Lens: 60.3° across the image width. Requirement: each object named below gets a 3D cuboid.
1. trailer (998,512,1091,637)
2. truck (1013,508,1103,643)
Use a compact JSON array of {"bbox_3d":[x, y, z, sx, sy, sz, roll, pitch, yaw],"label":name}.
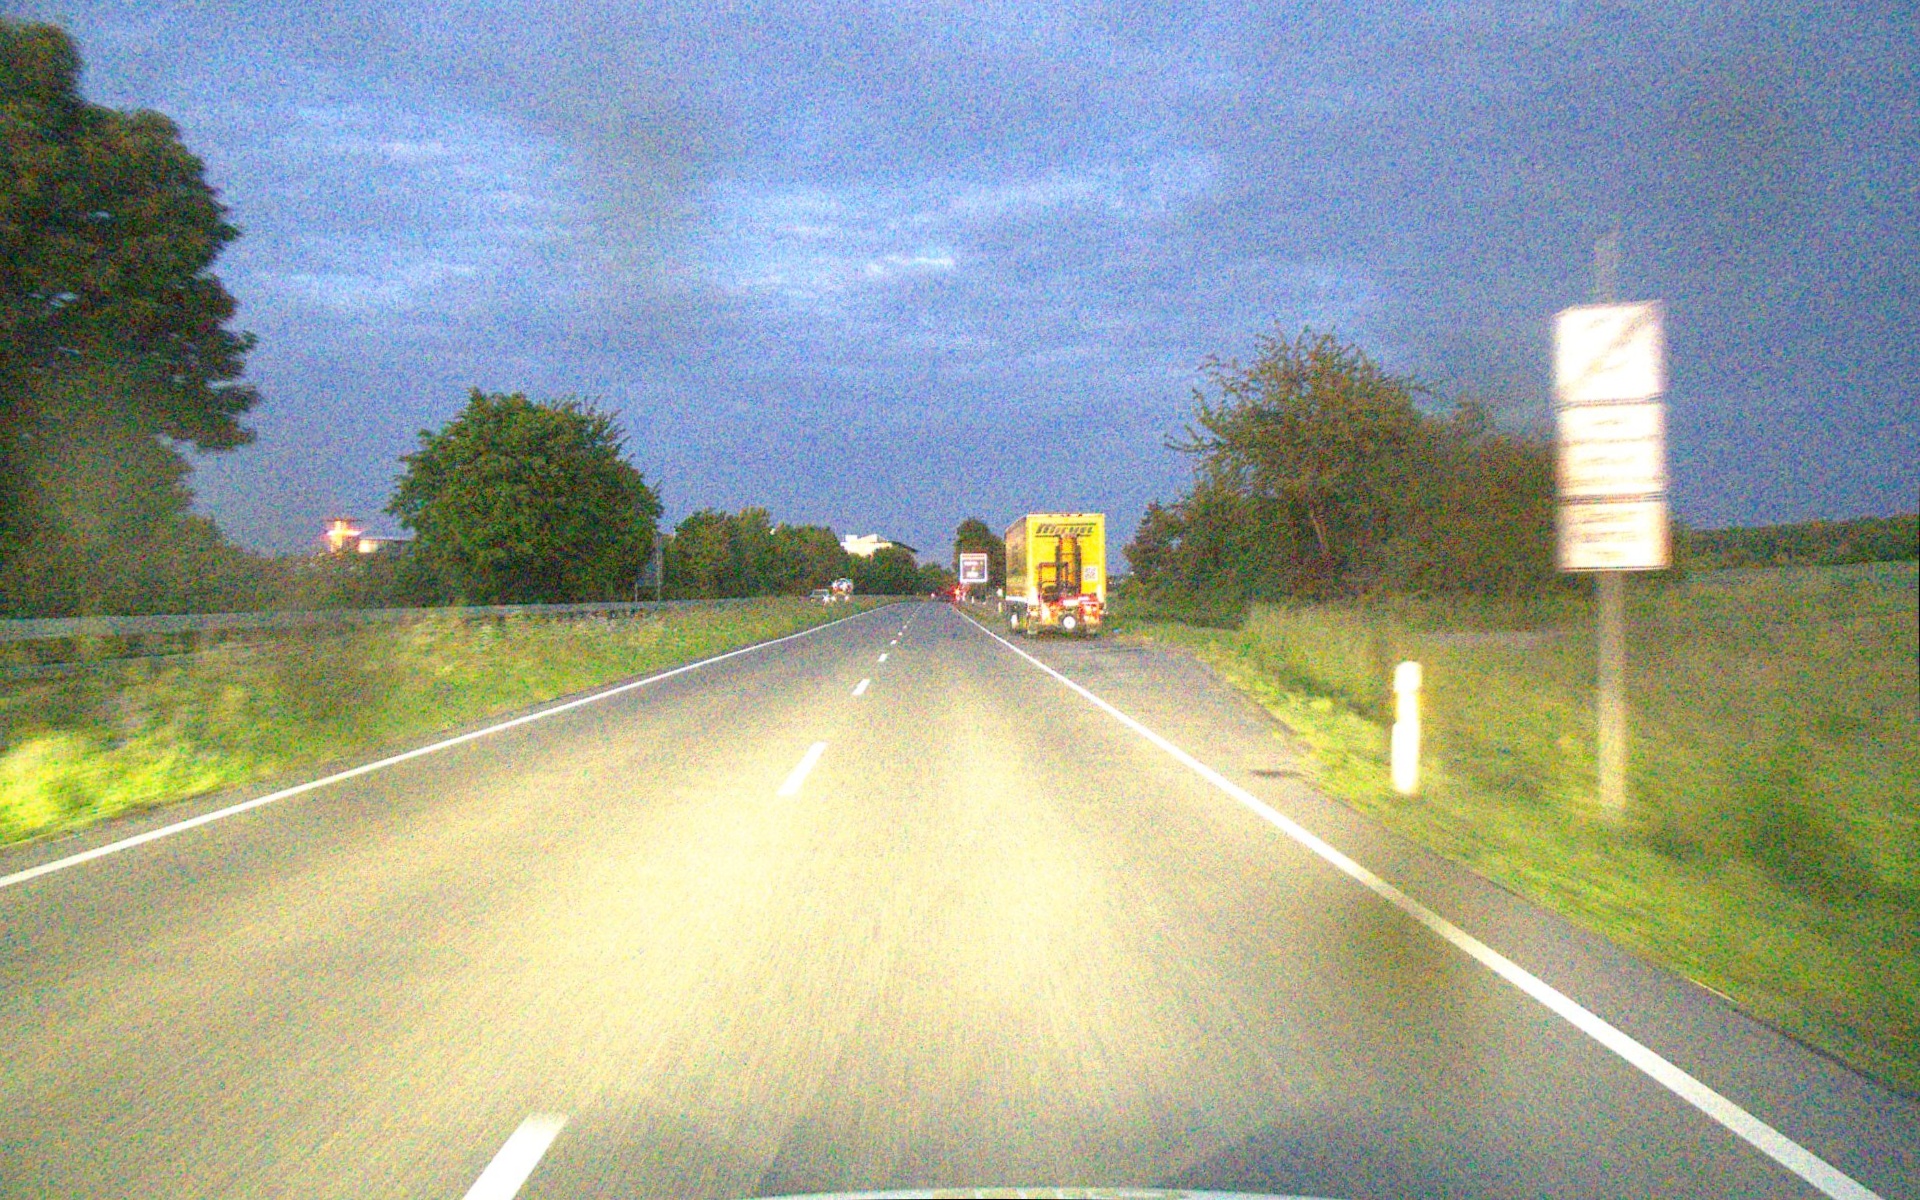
[{"bbox_3d":[2.973,-0.879,61.728,2.569,4.175,12.934,0,0,-1],"label":"trailer"},{"bbox_3d":[3.127,-0.797,54.143,2.527,4.142,6.129,1,1,0],"label":"truck"}]
